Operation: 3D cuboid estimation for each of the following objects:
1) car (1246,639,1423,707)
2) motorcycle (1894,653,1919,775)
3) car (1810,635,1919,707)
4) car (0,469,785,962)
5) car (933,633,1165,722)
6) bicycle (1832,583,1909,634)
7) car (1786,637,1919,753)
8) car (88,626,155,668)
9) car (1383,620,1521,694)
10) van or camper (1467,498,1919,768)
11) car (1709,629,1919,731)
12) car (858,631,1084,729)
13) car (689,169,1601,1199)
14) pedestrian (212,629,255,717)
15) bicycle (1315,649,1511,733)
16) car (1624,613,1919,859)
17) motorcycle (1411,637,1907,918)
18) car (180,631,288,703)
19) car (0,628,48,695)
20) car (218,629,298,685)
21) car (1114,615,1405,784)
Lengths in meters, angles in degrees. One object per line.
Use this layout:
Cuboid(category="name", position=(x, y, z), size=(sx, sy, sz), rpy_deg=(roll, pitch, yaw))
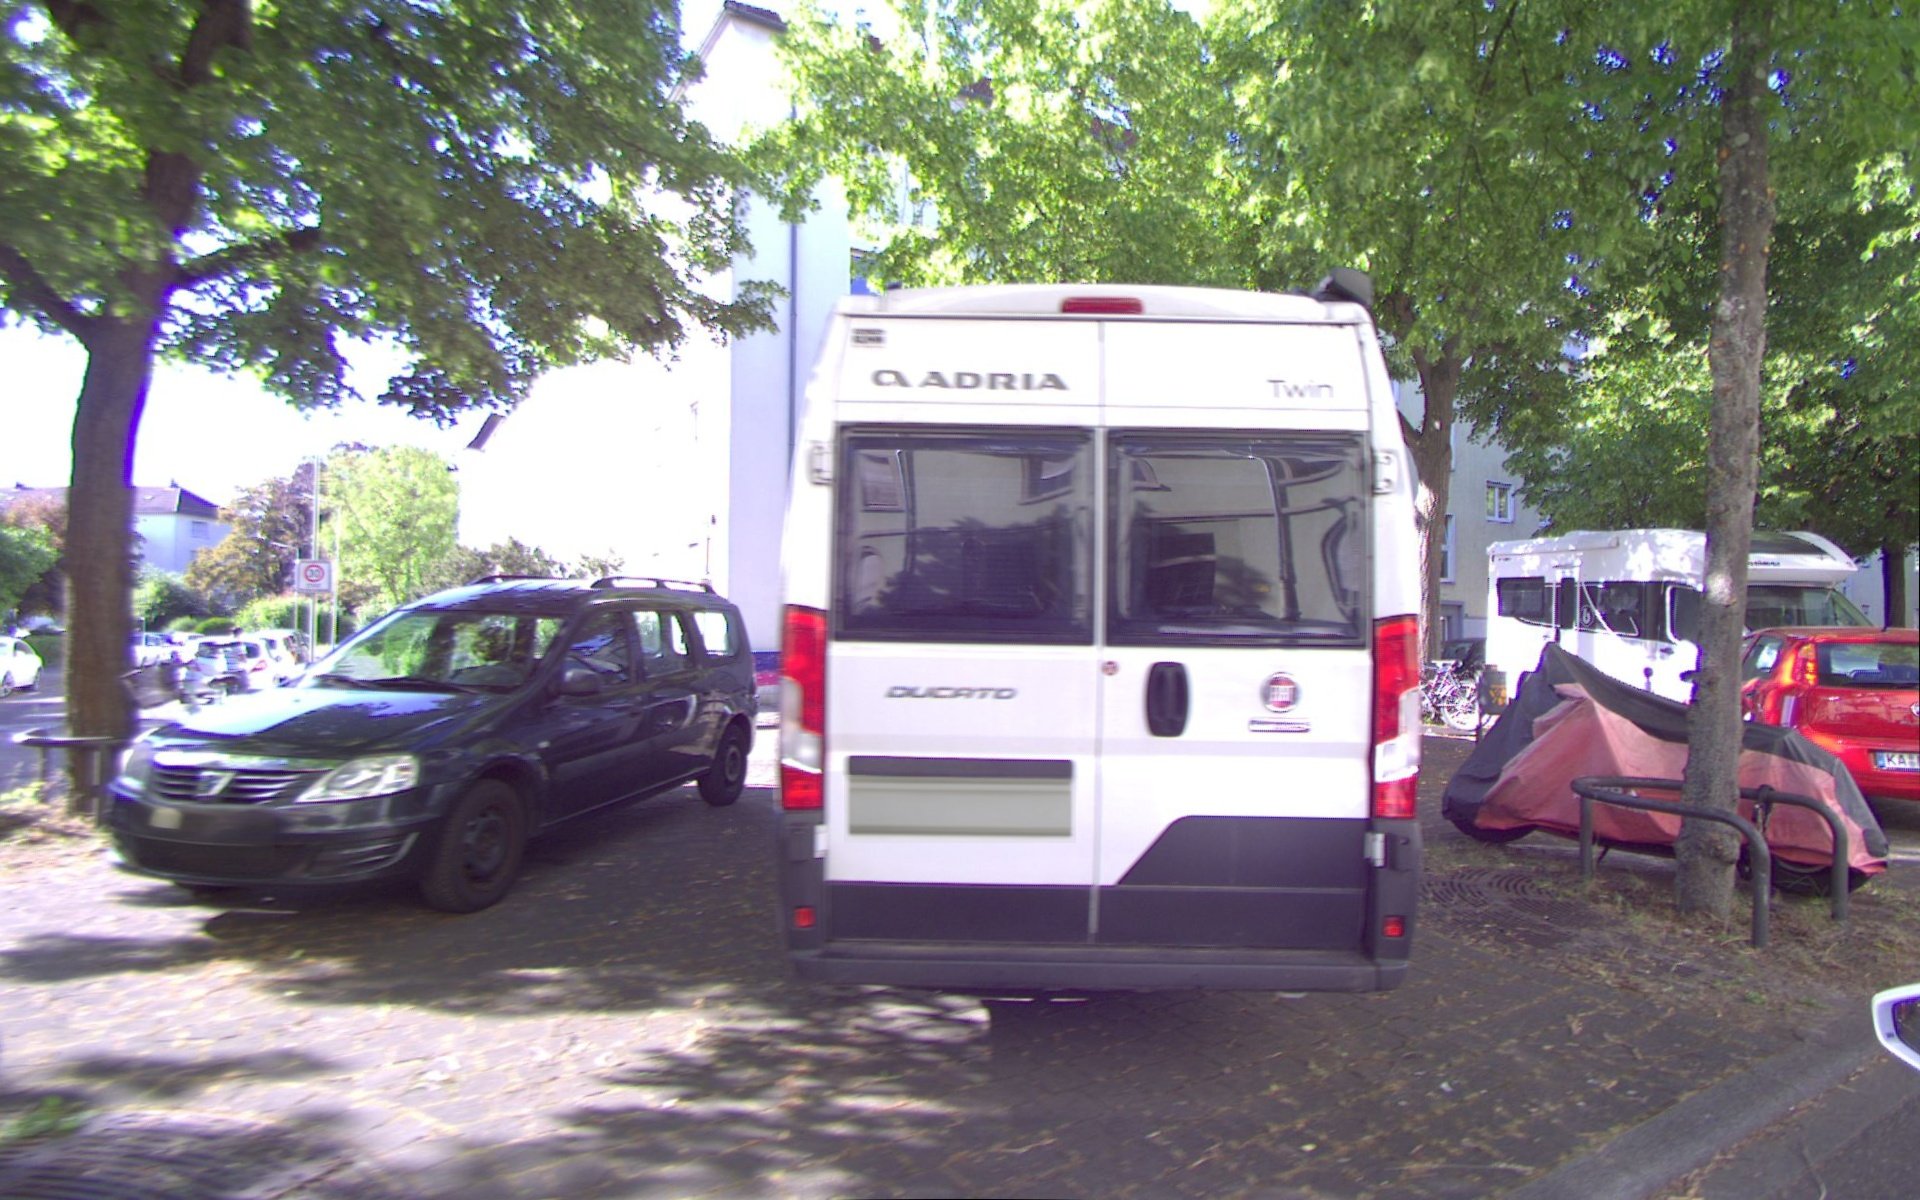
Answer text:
Cuboid(category="car", position=(8.593, 1.610, 22.937), size=(4.260, 1.417, 1.634), rpy_deg=(1, -3, -34))
Cuboid(category="motorcycle", position=(10.584, 1.166, 9.693), size=(0.869, 1.246, 2.143), rpy_deg=(1, -1, -22))
Cuboid(category="car", position=(20.099, 1.463, 20.669), size=(1.782, 1.409, 4.200), rpy_deg=(1, -1, 2))
Cuboid(category="car", position=(-2.854, 0.535, 6.313), size=(1.959, 1.940, 4.388), rpy_deg=(0, -2, 12))
Cuboid(category="car", position=(1.677, 1.372, 18.338), size=(4.040, 1.454, 1.739), rpy_deg=(1, -4, -34))
Cuboid(category="bicycle", position=(22.419, 0.211, 24.737), size=(1.768, 1.216, 0.356), rpy_deg=(1, 0, -8))
Cuboid(category="car", position=(12.828, 1.204, 12.514), size=(1.681, 1.444, 4.159), rpy_deg=(1, -2, 1))
Cuboid(category="car", position=(-32.536, 1.844, 39.052), size=(1.589, 1.546, 3.830), rpy_deg=(2, -4, -34))
Cuboid(category="car", position=(12.426, 1.446, 25.326), size=(3.564, 1.697, 1.466), rpy_deg=(1, -7, -34))
Cuboid(category="van or camper", position=(9.921, 0.415, 13.910), size=(2.361, 2.862, 6.305), rpy_deg=(1, -1, -3))
Cuboid(category="car", position=(15.005, 1.267, 16.718), size=(1.796, 1.505, 3.995), rpy_deg=(1, -1, -8))
Cuboid(category="car", position=(0.236, 1.357, 17.640), size=(3.729, 1.538, 1.695), rpy_deg=(2, -4, -37))
Cuboid(category="car", position=(0.531, 0.282, 5.744), size=(2.292, 2.592, 6.330), rpy_deg=(1, -1, 1))
Cuboid(category="pedestrian", position=(-13.993, 1.396, 19.359), size=(0.548, 1.661, 0.487), rpy_deg=(1, -2, -24))
Cuboid(category="bicycle", position=(6.219, 1.217, 13.926), size=(0.628, 0.991, 2.418), rpy_deg=(2, -2, -44))
Cuboid(category="car", position=(7.186, 0.990, 8.500), size=(1.631, 1.639, 3.882), rpy_deg=(-1, -3, 19))
Cuboid(category="motorcycle", position=(4.086, 0.908, 6.080), size=(0.961, 1.352, 2.300), rpy_deg=(2, -3, -40))
Cuboid(category="car", position=(-16.998, 1.507, 23.675), size=(1.633, 1.537, 3.968), rpy_deg=(1, -2, -30))
Cuboid(category="car", position=(-23.916, 1.518, 24.606), size=(1.765, 1.546, 3.830), rpy_deg=(2, -4, -34))
Cuboid(category="car", position=(-21.307, 1.688, 30.610), size=(1.633, 1.590, 3.968), rpy_deg=(1, -2, -30))
Cuboid(category="car", position=(3.013, 0.969, 11.081), size=(1.798, 1.505, 4.137), rpy_deg=(0, -2, -3))
